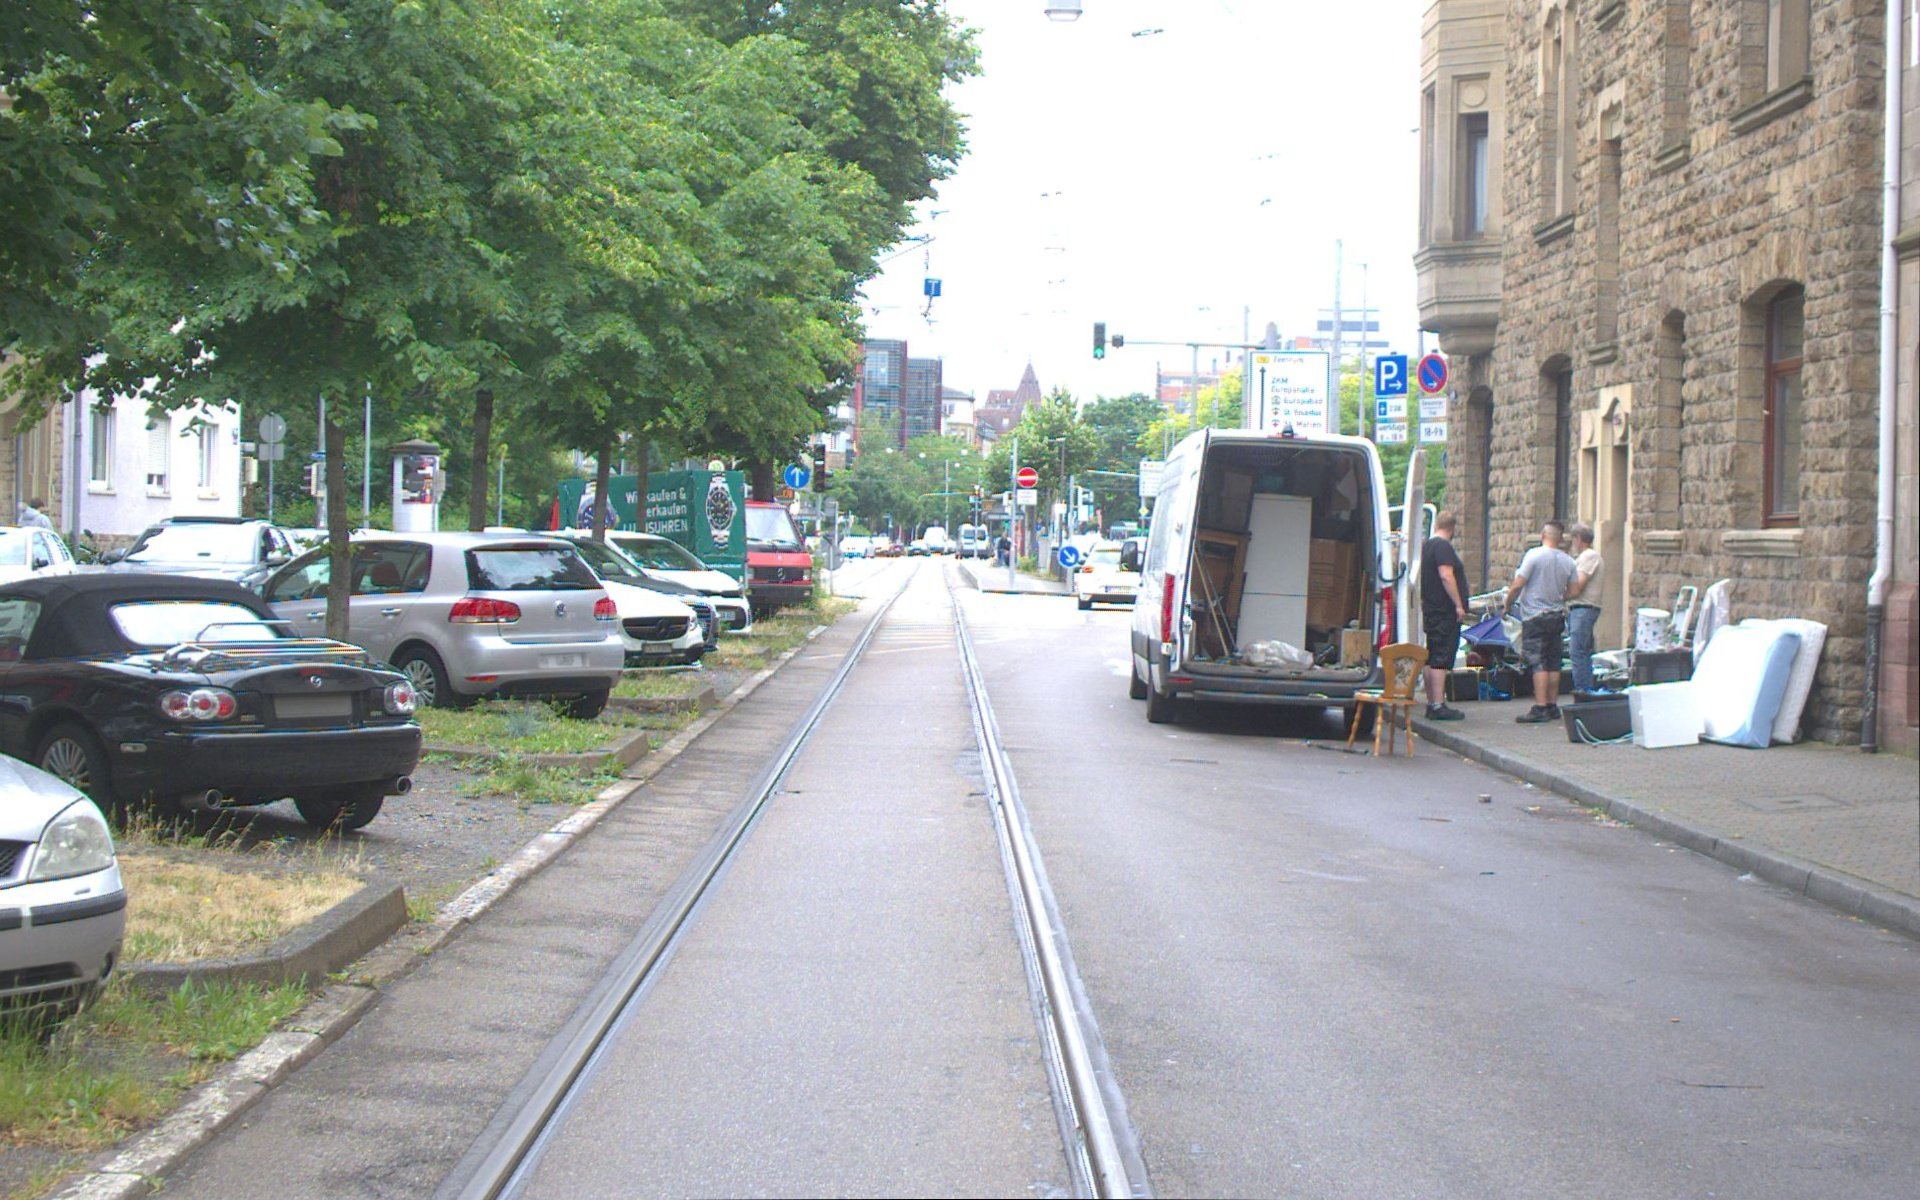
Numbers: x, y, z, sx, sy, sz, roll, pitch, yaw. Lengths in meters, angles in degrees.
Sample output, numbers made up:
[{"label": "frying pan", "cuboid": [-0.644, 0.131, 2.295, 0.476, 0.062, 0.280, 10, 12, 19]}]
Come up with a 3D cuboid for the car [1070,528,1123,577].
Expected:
[{"label": "car", "cuboid": [5.887, -2.089, 148.852, 2.180, 2.026, 4.382, 1, 1, 2]}]

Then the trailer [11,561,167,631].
[{"label": "trailer", "cuboid": [-12.021, -0.068, 47.592, 1.454, 0.889, 3.077, 0, 1, -2]}]

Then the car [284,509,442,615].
[{"label": "car", "cuboid": [-8.979, -0.577, 52.006, 1.644, 1.499, 4.622, 1, 1, -1]}]

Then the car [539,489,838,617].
[{"label": "car", "cuboid": [-4.448, -0.784, 55.899, 4.763, 1.967, 1.955, 2, 1, 38]}]

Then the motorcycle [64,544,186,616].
[{"label": "motorcycle", "cuboid": [-12.307, -0.299, 50.755, 0.709, 1.035, 2.228, 1, 1, 17]}]

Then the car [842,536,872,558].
[{"label": "car", "cuboid": [-6.820, -3.521, 227.574, 1.762, 1.382, 4.000, 1, 1, 1]}]

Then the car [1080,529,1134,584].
[{"label": "car", "cuboid": [5.474, -1.625, 128.208, 1.782, 1.956, 4.382, 1, 1, 0]}]

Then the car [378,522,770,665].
[{"label": "car", "cuboid": [-4.312, -0.103, 38.006, 4.337, 1.430, 1.894, 2, 2, 42]}]

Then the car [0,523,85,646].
[{"label": "car", "cuboid": [-12.102, -0.231, 42.562, 1.634, 1.438, 3.924, 1, 1, -2]}]

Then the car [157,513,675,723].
[{"label": "car", "cuboid": [-4.352, 0.098, 27.183, 4.114, 1.479, 1.793, 2, 2, 41]}]

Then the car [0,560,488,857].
[{"label": "car", "cuboid": [-4.218, 0.445, 16.766, 3.960, 1.198, 1.664, 3, 2, 43]}]

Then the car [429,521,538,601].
[{"label": "car", "cuboid": [-9.359, -0.781, 67.801, 1.644, 1.499, 3.884, 1, 1, -1]}]

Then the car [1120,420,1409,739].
[{"label": "car", "cuboid": [2.680, -0.243, 31.917, 2.013, 2.540, 7.017, 3, 1, 1]}]

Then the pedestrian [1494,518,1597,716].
[{"label": "pedestrian", "cuboid": [5.109, 0.143, 29.986, 0.702, 1.694, 0.493, -2, 1, -28]}]

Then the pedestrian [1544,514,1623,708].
[{"label": "pedestrian", "cuboid": [5.586, 0.091, 30.810, 0.507, 1.711, 0.581, -1, 1, -10]}]

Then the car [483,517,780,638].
[{"label": "car", "cuboid": [-4.335, -0.315, 45.033, 3.860, 1.458, 1.685, 2, 2, 42]}]

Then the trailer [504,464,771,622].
[{"label": "trailer", "cuboid": [-4.983, -0.893, 53.003, 3.666, 2.336, 1.927, 2, 1, 33]}]

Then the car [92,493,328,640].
[{"label": "car", "cuboid": [-8.670, -0.400, 40.089, 1.804, 1.573, 4.547, 1, 1, -1]}]

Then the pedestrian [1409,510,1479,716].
[{"label": "pedestrian", "cuboid": [4.325, 0.103, 30.731, 0.499, 1.809, 0.803, -1, 1, 1]}]

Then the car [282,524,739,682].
[{"label": "car", "cuboid": [-4.618, -0.009, 34.927, 4.684, 1.430, 1.894, 2, 2, 39]}]

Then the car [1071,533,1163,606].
[{"label": "car", "cuboid": [3.376, -0.680, 73.509, 1.783, 1.467, 4.010, 2, 1, 5]}]

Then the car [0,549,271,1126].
[{"label": "car", "cuboid": [-4.080, 0.504, 9.713, 4.665, 1.363, 1.753, 2, 2, 43]}]

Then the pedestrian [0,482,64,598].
[{"label": "pedestrian", "cuboid": [-14.264, -0.926, 52.775, 0.797, 1.760, 0.900, 1, 1, -1]}]

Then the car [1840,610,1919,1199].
[{"label": "car", "cuboid": [2.820, 0.824, 4.714, 1.801, 1.433, 5.196, 1, 1, -1]}]

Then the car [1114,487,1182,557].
[{"label": "car", "cuboid": [5.482, -2.275, 100.532, 1.782, 1.956, 4.382, 1, 1, 1]}]
